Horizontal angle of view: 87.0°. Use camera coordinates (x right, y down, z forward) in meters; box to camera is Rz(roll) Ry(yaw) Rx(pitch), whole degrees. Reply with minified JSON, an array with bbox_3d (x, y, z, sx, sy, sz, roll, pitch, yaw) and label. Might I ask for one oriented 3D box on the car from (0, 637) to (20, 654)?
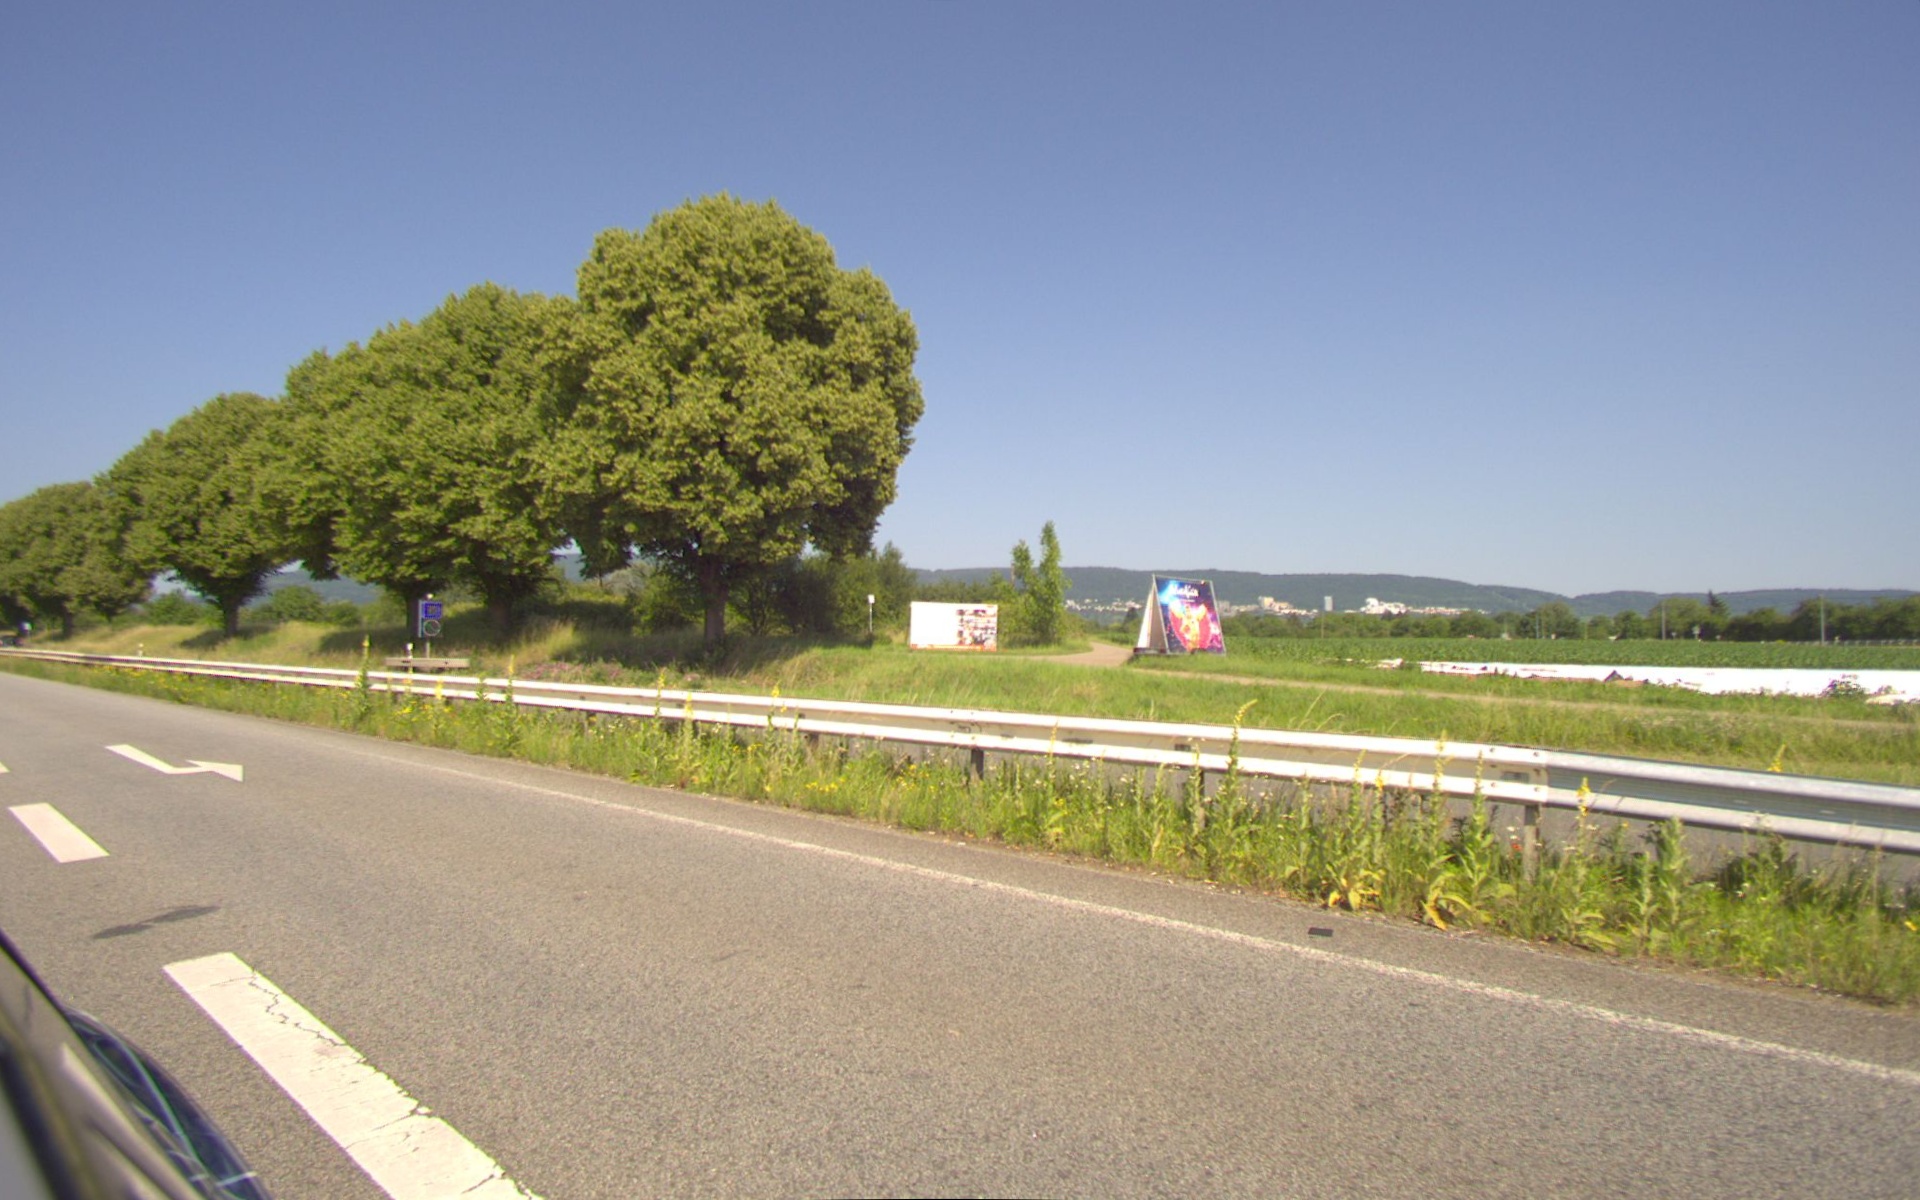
[{"bbox_3d":[-83.633,3.971,88.465,3.698,1.475,1.703,-2,-4,41],"label":"car"}]
